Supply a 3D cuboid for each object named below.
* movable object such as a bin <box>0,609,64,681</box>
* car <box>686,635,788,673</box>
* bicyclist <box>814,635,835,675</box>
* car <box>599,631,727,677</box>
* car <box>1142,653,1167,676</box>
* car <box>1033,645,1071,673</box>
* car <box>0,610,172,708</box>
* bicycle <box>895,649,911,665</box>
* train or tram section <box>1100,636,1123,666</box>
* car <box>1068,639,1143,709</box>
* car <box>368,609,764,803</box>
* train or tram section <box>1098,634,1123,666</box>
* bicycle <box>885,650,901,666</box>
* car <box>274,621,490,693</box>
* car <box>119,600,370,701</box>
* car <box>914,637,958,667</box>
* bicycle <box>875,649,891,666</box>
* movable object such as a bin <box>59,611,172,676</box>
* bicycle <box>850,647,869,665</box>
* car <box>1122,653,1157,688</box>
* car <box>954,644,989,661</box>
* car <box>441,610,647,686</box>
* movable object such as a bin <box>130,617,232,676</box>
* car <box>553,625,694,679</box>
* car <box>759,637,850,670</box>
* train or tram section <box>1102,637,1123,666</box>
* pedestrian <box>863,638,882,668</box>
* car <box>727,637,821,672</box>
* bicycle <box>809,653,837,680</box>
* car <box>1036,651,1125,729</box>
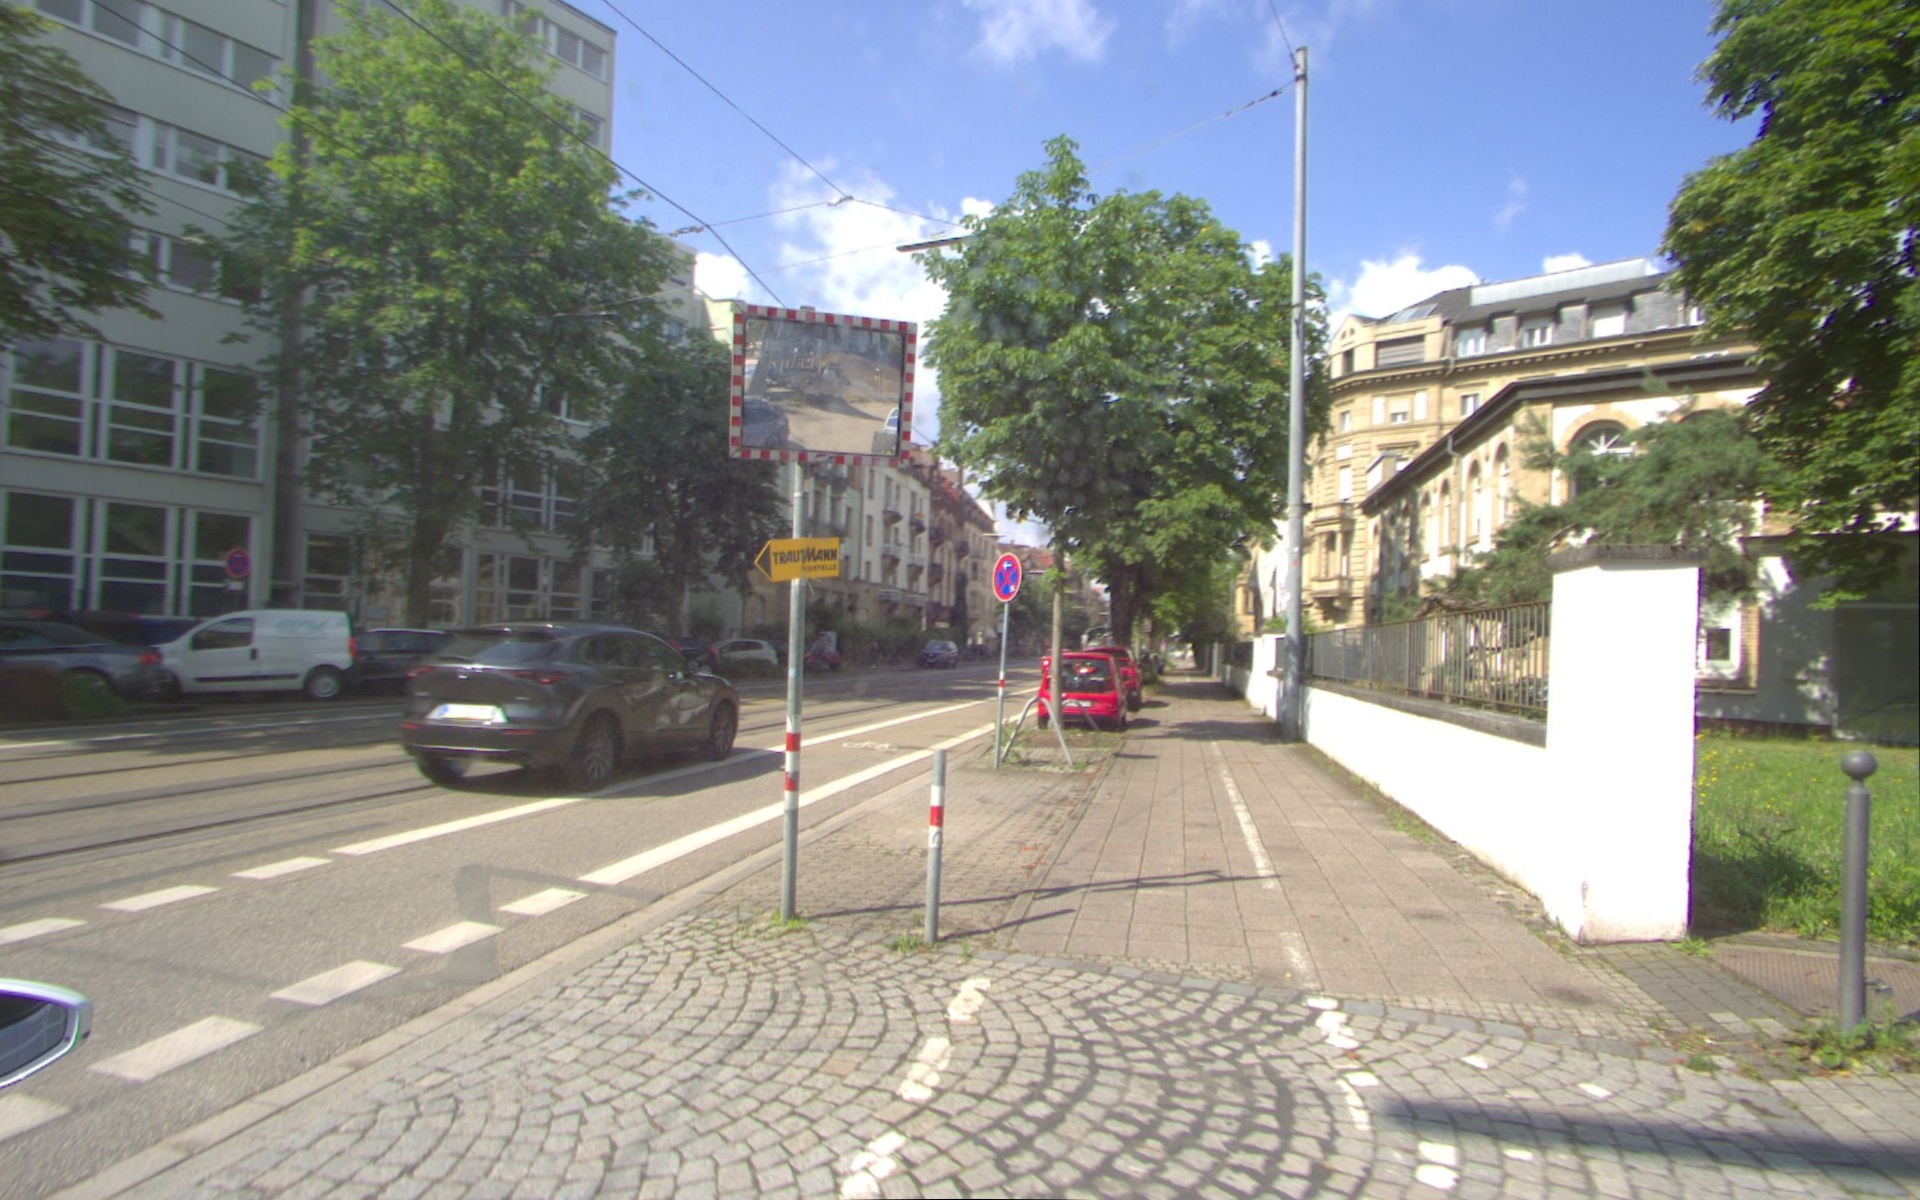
[{"bbox_3d":[-18.961,0.903,19.772,1.173,1.397,1.442,-1,-3,9],"label":"movable object such as a bin"},{"bbox_3d":[-9.132,2.223,41.123,3.757,1.502,1.688,2,-3,-33],"label":"car"},{"bbox_3d":[-5.504,2.242,40.580,0.631,1.596,0.742,1,-2,7],"label":"bicyclist"},{"bbox_3d":[-10.216,1.867,34.502,3.943,1.502,1.733,2,-3,-30],"label":"car"},{"bbox_3d":[13.261,4.366,68.269,1.614,1.514,3.628,0,-3,11],"label":"car"},{"bbox_3d":[5.348,3.372,57.573,1.756,1.511,4.884,2,-2,10],"label":"car"},{"bbox_3d":[-14.609,0.901,15.340,3.956,1.435,1.709,3,-4,-39],"label":"car"},{"bbox_3d":[-3.629,3.627,64.031,0.377,0.971,1.920,3,-2,14],"label":"bicycle"},{"bbox_3d":[18.859,6.355,124.434,2.609,3.571,8.501,1,-3,9],"label":"train or tram section"},{"bbox_3d":[4.008,1.963,27.161,1.846,1.697,4.283,0,-3,10],"label":"car"},{"bbox_3d":[-3.834,0.989,10.716,1.761,1.531,4.350,3,-2,12],"label":"car"},{"bbox_3d":[17.480,5.844,116.046,2.609,3.571,8.501,1,-3,9],"label":"train or tram section"},{"bbox_3d":[-4.121,3.571,61.950,0.377,0.971,1.809,3,-2,14],"label":"bicycle"},{"bbox_3d":[-12.603,1.246,21.943,3.948,1.435,1.750,2,-3,-34],"label":"car"},{"bbox_3d":[-13.222,0.958,18.810,3.664,1.714,1.752,2,-3,-31],"label":"car"},{"bbox_3d":[-1.439,3.249,62.617,1.756,1.784,4.884,2,-2,10],"label":"car"},{"bbox_3d":[-4.589,3.458,59.914,0.377,0.971,1.809,3,-2,14],"label":"bicycle"},{"bbox_3d":[-18.241,0.966,21.673,1.145,1.343,1.442,-1,-3,11],"label":"movable object such as a bin"},{"bbox_3d":[-5.619,3.114,56.110,0.377,0.971,1.809,3,-2,14],"label":"bicycle"},{"bbox_3d":[9.015,3.507,50.094,1.670,1.610,4.204,0,-3,11],"label":"car"},{"bbox_3d":[1.207,5.378,103.159,3.187,1.532,1.678,3,-2,16],"label":"car"},{"bbox_3d":[-11.674,1.361,28.284,5.101,1.978,1.905,2,-3,-34],"label":"car"},{"bbox_3d":[-17.948,1.079,23.113,1.149,1.299,1.442,-1,-3,11],"label":"movable object such as a bin"},{"bbox_3d":[-10.573,1.652,31.533,3.946,1.612,1.732,2,-3,-32],"label":"car"},{"bbox_3d":[-7.354,2.535,47.435,3.915,1.502,1.837,2,-3,-31],"label":"car"},{"bbox_3d":[20.253,6.874,132.808,2.609,3.571,8.501,1,-3,9],"label":"train or tram section"},{"bbox_3d":[-4.781,2.881,54.657,0.669,1.588,0.881,4,-2,15],"label":"pedestrian"},{"bbox_3d":[-8.235,2.400,44.336,3.750,1.502,1.691,2,-3,-27],"label":"car"},{"bbox_3d":[-5.528,2.675,40.466,0.644,1.053,2.002,1,-3,5],"label":"bicycle"},{"bbox_3d":[2.517,1.779,20.329,1.575,1.446,3.598,-1,-4,10],"label":"car"}]
